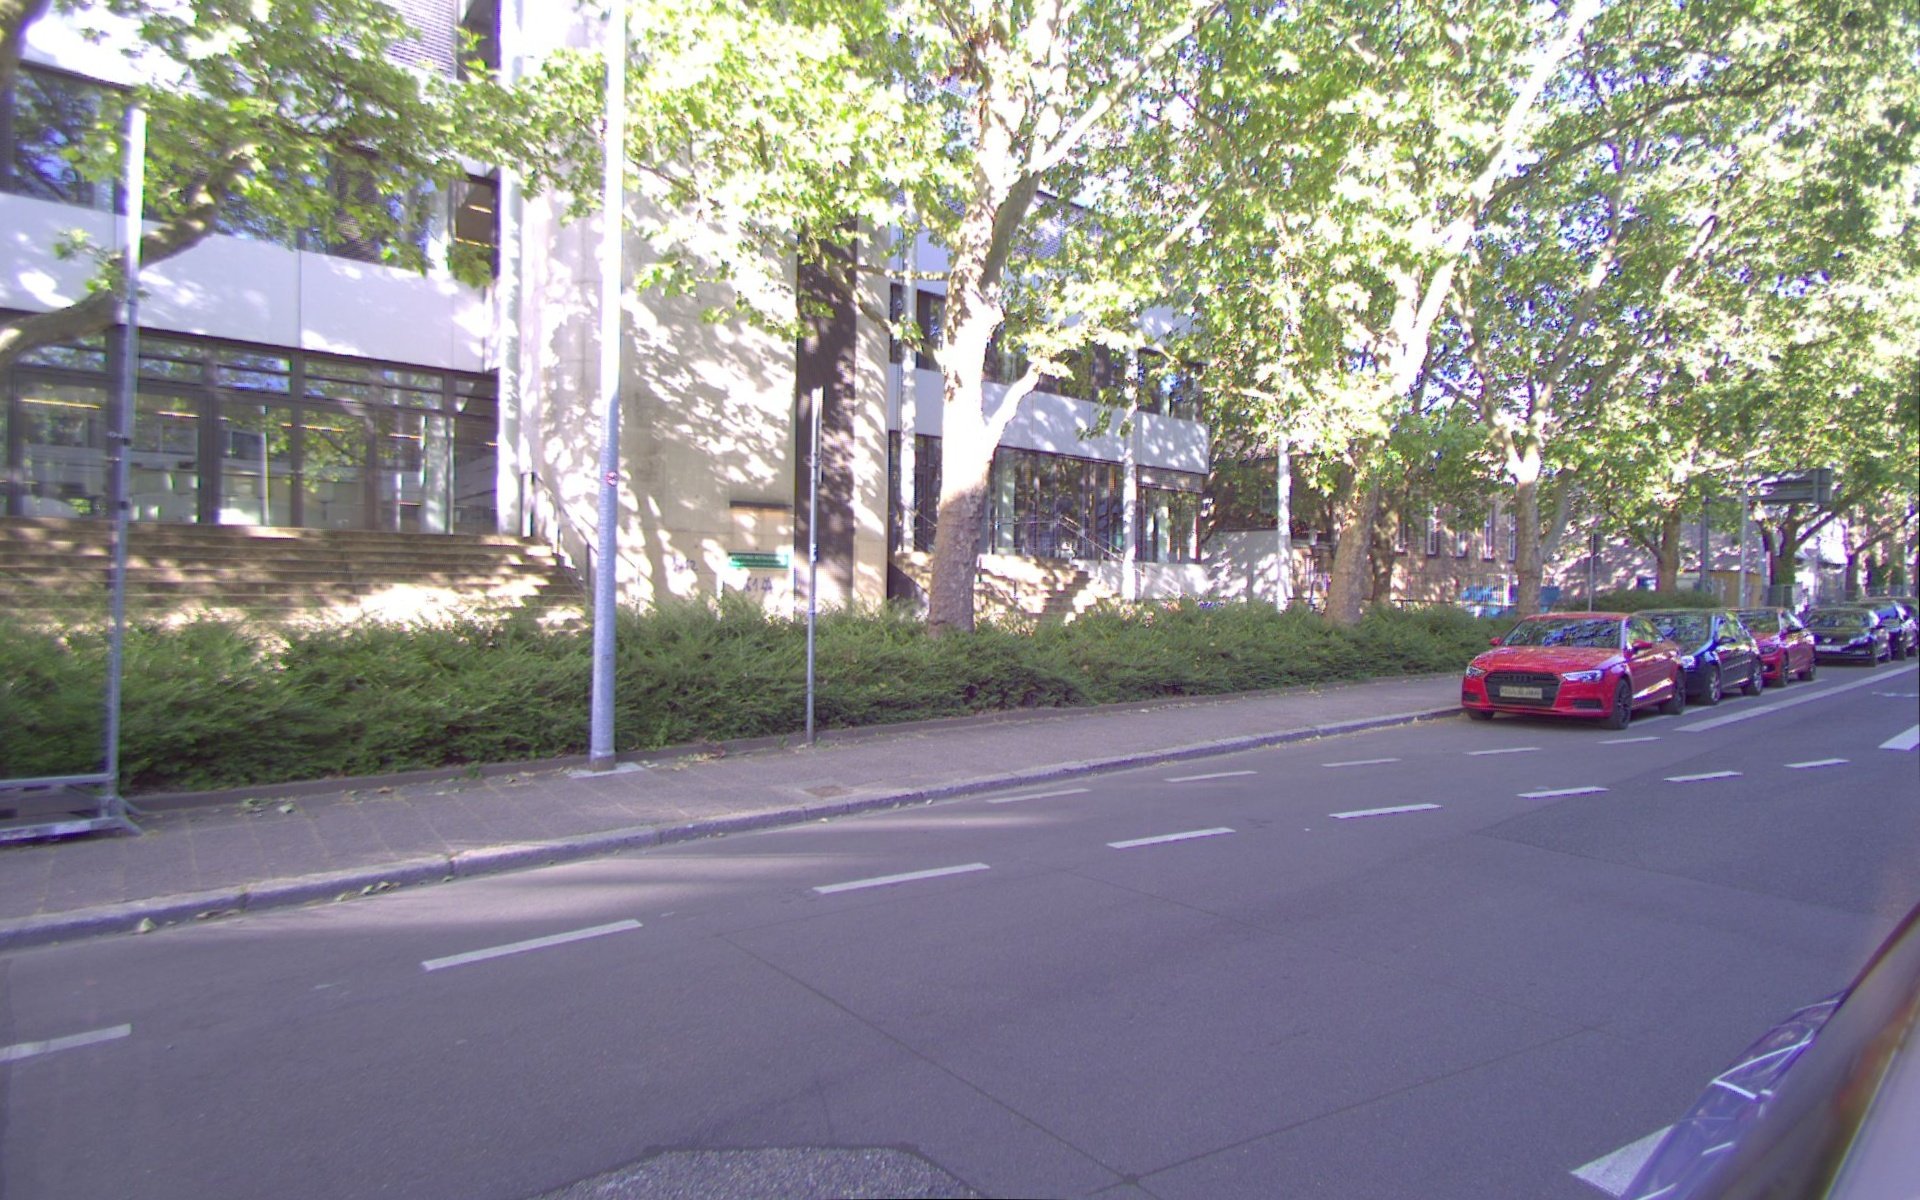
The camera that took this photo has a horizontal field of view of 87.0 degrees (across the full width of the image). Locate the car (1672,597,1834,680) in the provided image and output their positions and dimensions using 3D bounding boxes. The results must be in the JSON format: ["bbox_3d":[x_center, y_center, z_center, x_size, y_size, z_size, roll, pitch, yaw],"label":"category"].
[{"bbox_3d":[15.690,0.680,19.958,3.930,1.456,1.789,0,1,-41],"label":"car"}]

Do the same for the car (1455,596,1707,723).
[{"bbox_3d":[8.372,0.676,13.505,4.101,1.443,1.773,0,-1,-42],"label":"car"}]

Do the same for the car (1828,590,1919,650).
[{"bbox_3d":[26.639,0.530,29.195,4.158,1.601,1.847,0,1,-41],"label":"car"}]

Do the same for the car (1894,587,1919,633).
[{"bbox_3d":[35.732,0.369,37.077,4.004,1.638,1.797,0,1,-41],"label":"car"}]

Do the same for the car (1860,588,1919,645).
[{"bbox_3d":[31.074,0.488,33.056,4.188,1.747,1.997,-1,0,-41],"label":"car"}]

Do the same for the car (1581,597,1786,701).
[{"bbox_3d":[11.963,0.705,16.657,3.929,1.475,1.812,0,1,-40],"label":"car"}]

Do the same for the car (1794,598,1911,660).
[{"bbox_3d":[22.976,0.686,25.997,3.930,1.456,1.744,0,1,-41],"label":"car"}]
